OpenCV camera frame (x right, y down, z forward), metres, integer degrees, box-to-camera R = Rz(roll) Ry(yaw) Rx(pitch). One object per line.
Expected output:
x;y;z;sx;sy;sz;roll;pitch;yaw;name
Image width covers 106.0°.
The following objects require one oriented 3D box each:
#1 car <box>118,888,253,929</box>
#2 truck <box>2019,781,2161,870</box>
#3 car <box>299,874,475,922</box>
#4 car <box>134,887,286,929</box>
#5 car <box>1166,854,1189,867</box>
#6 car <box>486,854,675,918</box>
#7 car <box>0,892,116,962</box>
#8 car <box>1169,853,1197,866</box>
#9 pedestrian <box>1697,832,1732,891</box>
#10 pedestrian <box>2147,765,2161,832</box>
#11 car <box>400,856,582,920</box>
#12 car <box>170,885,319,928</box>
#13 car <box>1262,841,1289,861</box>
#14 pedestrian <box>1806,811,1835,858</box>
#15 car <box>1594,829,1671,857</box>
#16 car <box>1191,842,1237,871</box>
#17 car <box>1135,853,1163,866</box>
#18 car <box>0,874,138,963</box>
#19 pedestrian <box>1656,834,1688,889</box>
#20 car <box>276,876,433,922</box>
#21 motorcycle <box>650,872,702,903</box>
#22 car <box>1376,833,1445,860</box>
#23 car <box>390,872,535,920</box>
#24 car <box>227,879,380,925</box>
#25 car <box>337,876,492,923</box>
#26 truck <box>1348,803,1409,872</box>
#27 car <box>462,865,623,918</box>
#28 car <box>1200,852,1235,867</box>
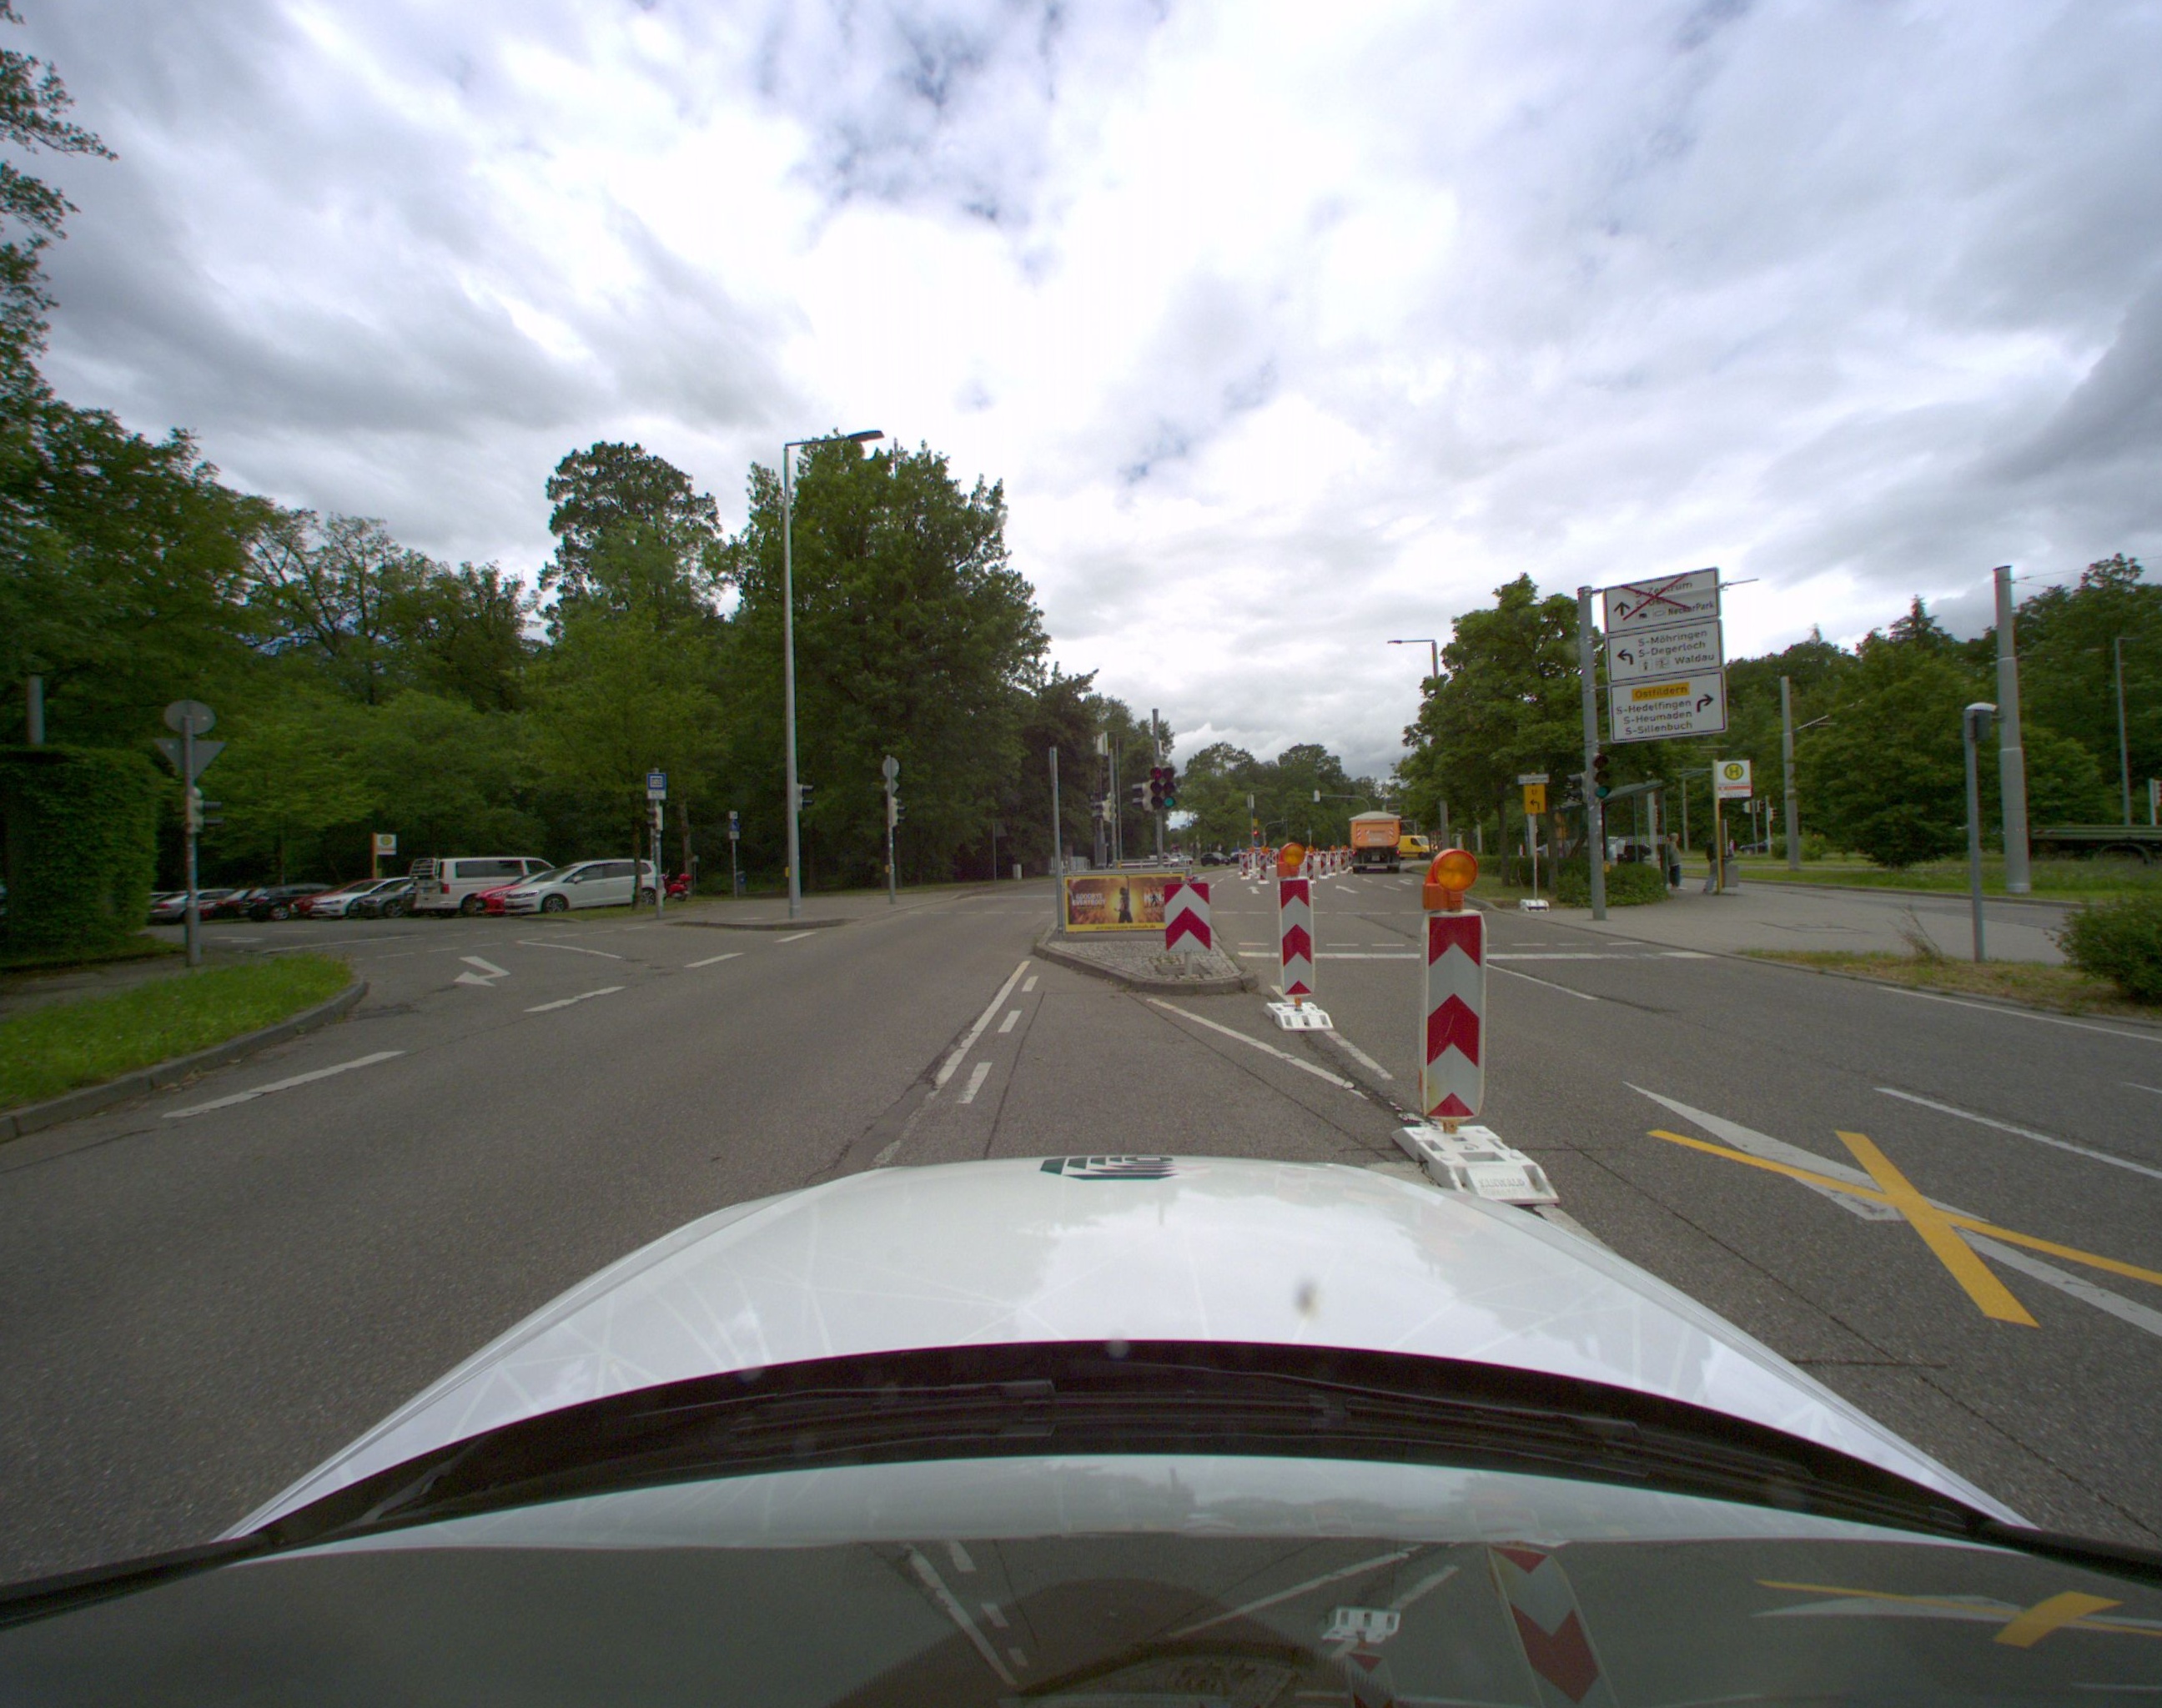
-40.841;2.451;37.251;1.731;1.510;3.733;-4;0;20;car
30.117;-0.770;21.556;2.407;2.352;6.499;0;-1;-20;truck
-26.753;1.672;31.610;1.829;1.476;4.817;-2;0;27;car
-38.680;2.365;36.315;1.843;1.461;4.163;-4;0;22;car
12.926;0.861;108.718;1.977;1.750;4.601;-1;-1;20;car
-15.760;0.966;25.888;2.137;1.693;4.564;-4;0;33;car
-23.815;1.638;17.251;1.701;1.379;4.025;-3;0;28;car
15.423;0.844;123.602;2.010;1.882;3.953;0;-1;-41;car
16.345;0.197;21.026;0.520;1.516;0.479;0;-1;-2;pedestrian
49.795;-2.538;37.133;1.024;3.044;1.109;0;-1;-13;pedestrian
-20.373;1.103;28.364;2.057;2.021;4.691;-1;-1;27;car
-36.207;2.228;35.388;1.918;1.449;4.020;-3;0;20;car
17.510;-0.217;73.142;1.780;1.738;3.723;-1;-1;23;car
36.546;-0.955;40.266;0.616;2.295;0.858;0;-1;-13;pedestrian
40.729;-0.769;60.247;2.006;2.014;4.285;0;-1;-30;car
8.452;0.156;51.479;1.976;1.717;4.022;-1;-1;23;car
10.125;0.865;121.466;2.010;1.882;3.953;0;-1;-41;car
-26.075;1.614;18.873;1.953;1.915;5.134;-3;1;28;car
16.439;0.210;22.649;0.520;1.516;0.479;0;-1;-2;pedestrian
-29.131;1.772;32.815;1.896;1.480;4.267;-4;0;24;car
-16.369;1.345;32.894;1.988;1.160;0.680;-2;0;21;motorcycle
31.185;-0.659;77.279;2.006;2.494;6.089;0;-1;-30;car
-22.466;1.480;29.733;1.823;1.555;3.756;-1;-1;26;car
-31.680;1.913;33.314;1.898;1.483;4.023;-3;0;24;car
-24.743;1.645;30.404;1.854;1.483;4.023;-4;-2;26;car
17.044;-0.929;46.319;2.834;3.514;8.293;-2;0;22;truck
-17.870;1.216;27.203;1.921;1.555;4.036;-2;-1;34;car
17.390;0.669;103.772;2.010;1.882;3.953;0;-1;-41;car
